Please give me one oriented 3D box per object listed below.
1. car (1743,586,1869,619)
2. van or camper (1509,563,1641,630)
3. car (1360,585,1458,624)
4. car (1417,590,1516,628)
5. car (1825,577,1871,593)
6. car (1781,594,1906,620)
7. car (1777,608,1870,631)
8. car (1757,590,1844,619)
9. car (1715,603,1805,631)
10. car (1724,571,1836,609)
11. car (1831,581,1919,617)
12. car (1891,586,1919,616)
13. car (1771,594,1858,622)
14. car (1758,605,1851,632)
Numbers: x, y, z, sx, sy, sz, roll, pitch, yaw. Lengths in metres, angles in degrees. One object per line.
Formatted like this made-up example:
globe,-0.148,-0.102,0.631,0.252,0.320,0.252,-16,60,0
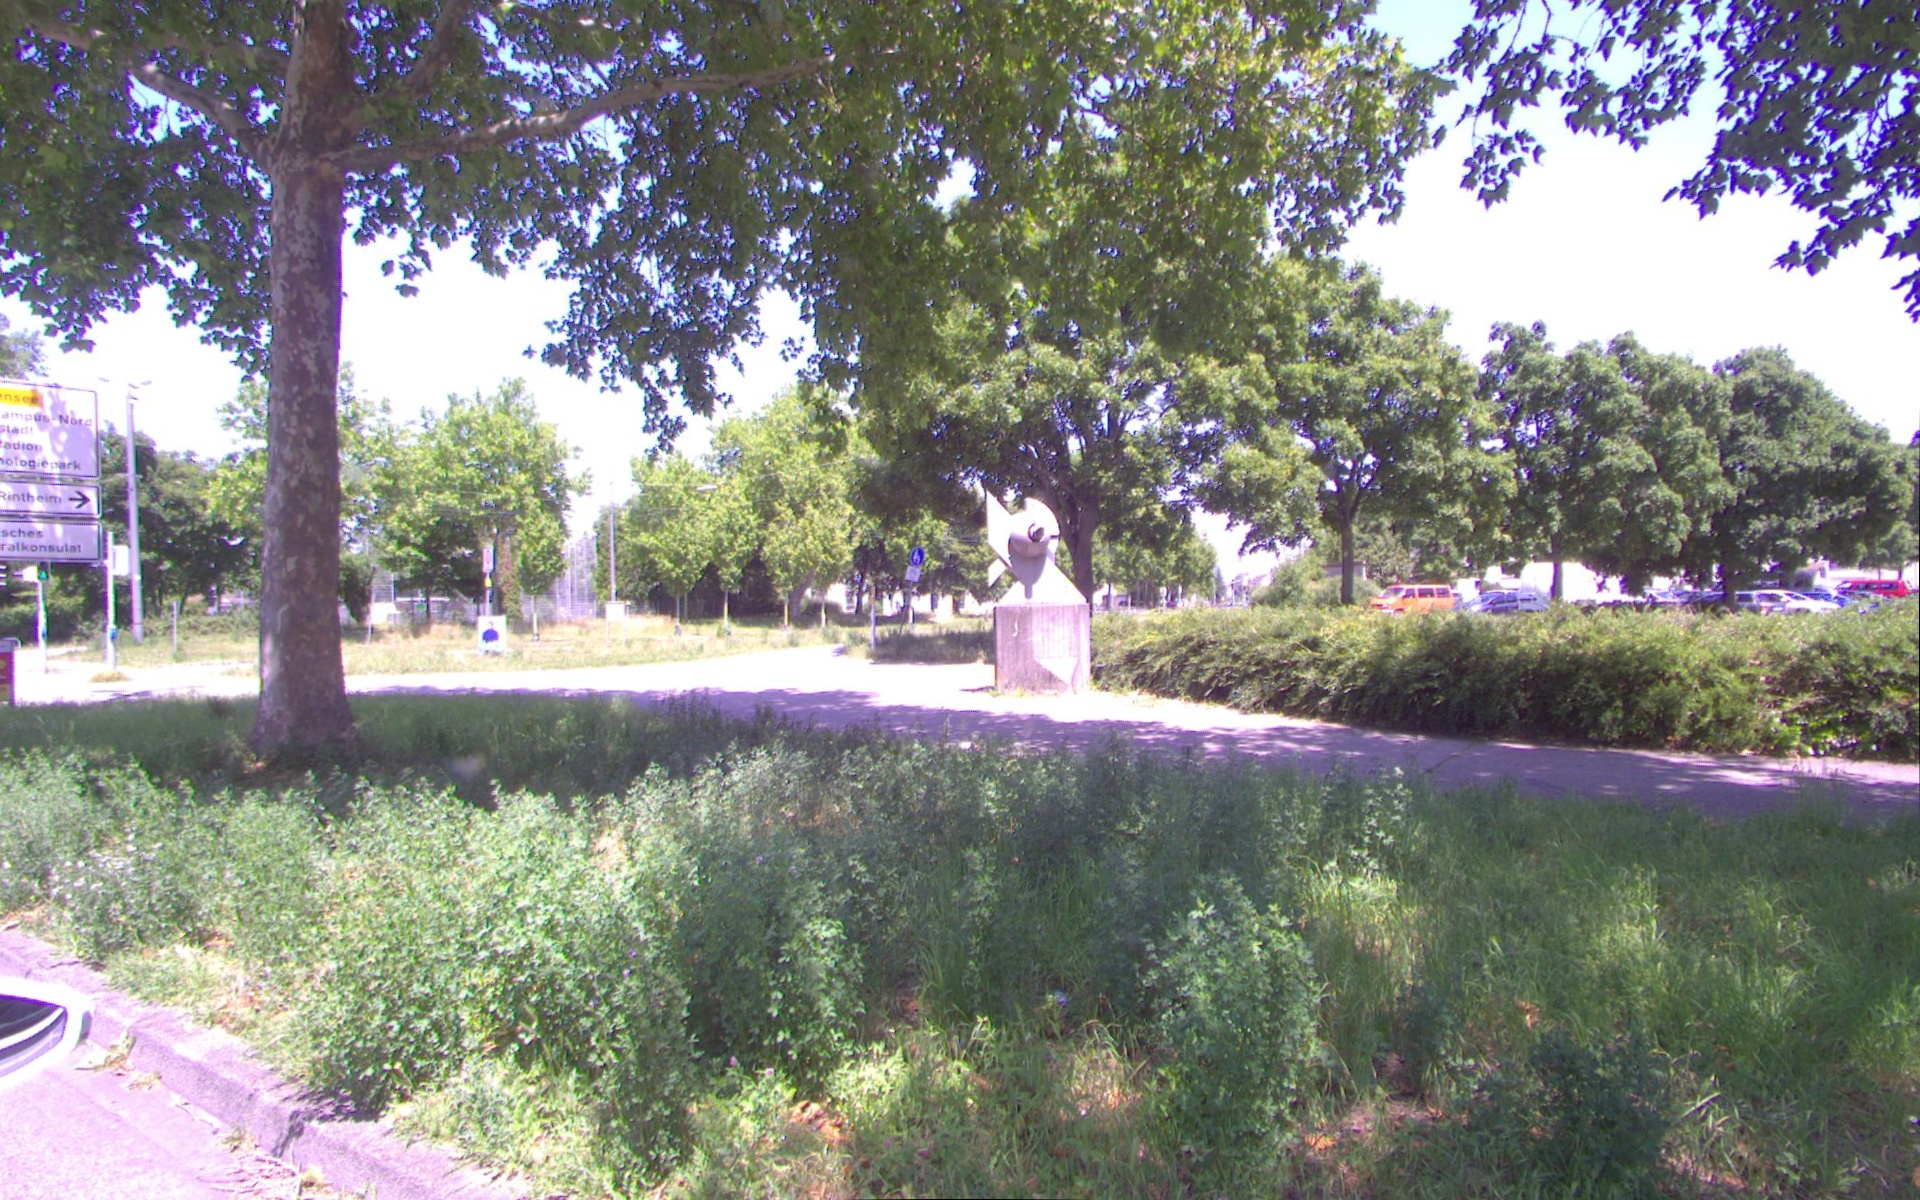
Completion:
car,34.381,0.086,40.797,1.595,1.242,3.559,0,1,-25
van or camper,27.002,-0.161,43.990,5.039,2.787,2.199,-1,0,-18
car,23.841,0.228,53.231,4.582,2.029,2.069,0,0,-19
car,23.926,0.412,47.323,4.000,1.741,1.952,-1,0,-18
car,92.705,-1.550,104.600,3.309,1.639,1.439,-1,0,19
car,36.713,0.296,41.702,1.655,1.048,3.553,-1,0,-25
car,33.504,0.763,38.919,0.938,0.852,2.590,-1,0,-25
car,34.363,0.176,40.985,0.991,1.141,2.590,-1,0,-25
car,30.766,0.648,38.565,0.938,1.050,2.590,-1,0,-25
car,46.407,-0.548,56.796,2.209,2.040,4.409,-1,0,-22
car,57.227,-0.041,62.380,1.935,2.039,3.989,1,-2,-23
car,44.671,0.022,45.252,1.690,1.384,3.414,-1,0,-25
car,35.338,0.339,41.450,0.938,1.141,2.590,-1,0,-25
car,32.373,0.710,38.459,0.938,1.000,2.590,-1,0,-25
